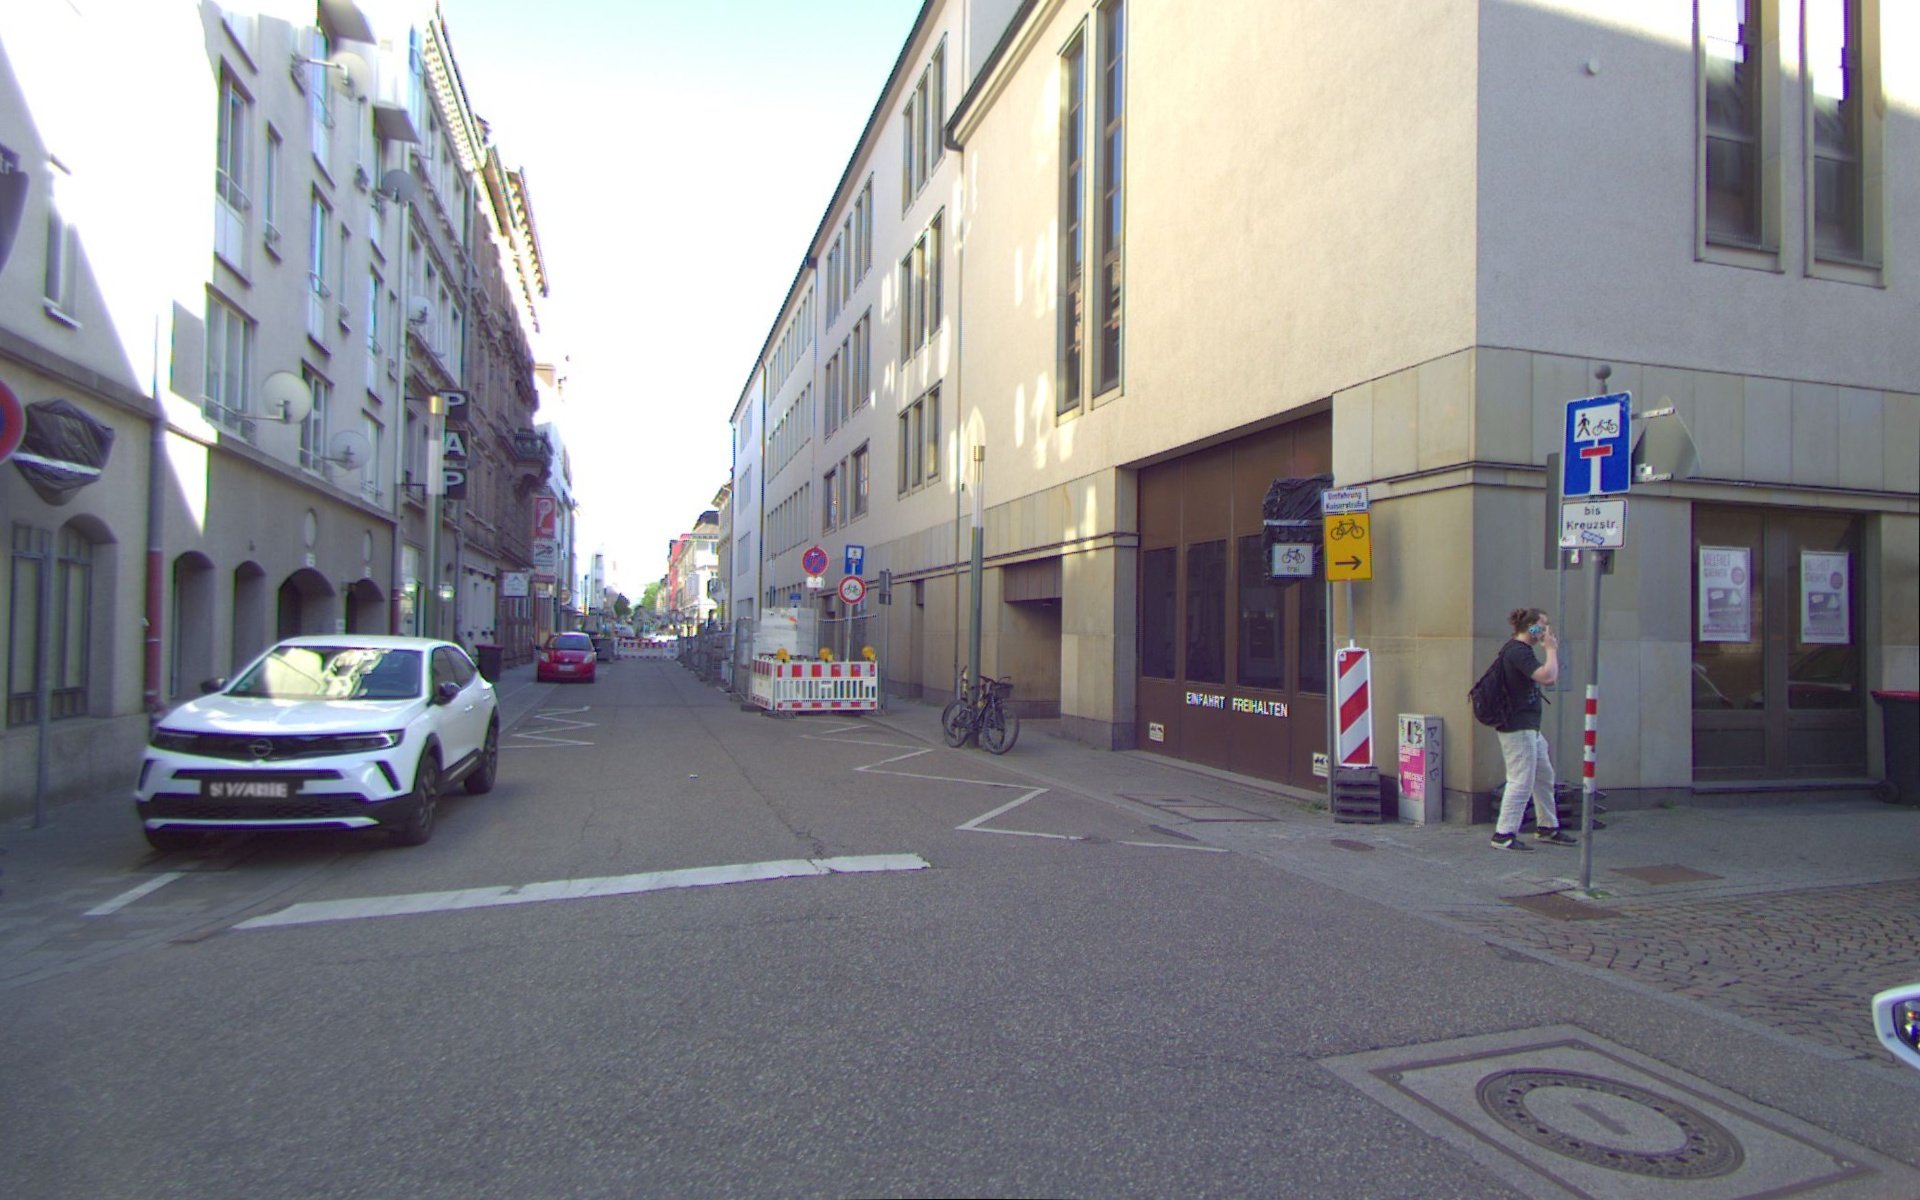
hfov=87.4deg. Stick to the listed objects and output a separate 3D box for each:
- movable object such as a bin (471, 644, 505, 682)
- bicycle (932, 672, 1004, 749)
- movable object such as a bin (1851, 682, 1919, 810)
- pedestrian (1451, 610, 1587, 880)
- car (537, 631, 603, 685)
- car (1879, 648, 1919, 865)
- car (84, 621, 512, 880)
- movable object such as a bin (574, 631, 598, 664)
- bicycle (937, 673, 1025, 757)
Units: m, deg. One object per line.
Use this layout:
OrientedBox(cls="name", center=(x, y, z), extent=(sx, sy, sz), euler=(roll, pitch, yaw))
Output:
OrientedBox(cls="movable object such as a bin", center=(-13.720, 1.830, 29.232), extent=(0.826, 1.062, 0.750), euler=(2, 0, -23))
OrientedBox(cls="bicycle", center=(0.110, 1.667, 15.465), extent=(0.299, 1.064, 1.528), euler=(2, -2, -34))
OrientedBox(cls="movable object such as a bin", center=(8.993, 1.363, 9.420), extent=(0.581, 1.115, 0.736), euler=(2, 0, -17))
OrientedBox(cls="pedestrian", center=(4.174, 1.035, 7.553), extent=(0.846, 1.878, 0.715), euler=(0, -4, 28))
OrientedBox(cls="car", center=(-12.310, 1.781, 31.748), extent=(1.767, 1.545, 3.981), euler=(3, -2, -21))
OrientedBox(cls="car", center=(8.667, 1.098, 7.002), extent=(3.740, 1.511, 1.736), euler=(1, -3, -19))
OrientedBox(cls="car", center=(-5.096, 1.043, 8.432), extent=(1.714, 1.614, 3.959), euler=(2, -3, -14))
OrientedBox(cls="movable object such as a bin", center=(-18.563, 2.341, 49.864), extent=(1.068, 1.564, 0.904), euler=(3, -2, -21))
OrientedBox(cls="bicycle", center=(0.274, 1.608, 14.358), extent=(0.299, 1.064, 1.775), euler=(2, -2, -34))
